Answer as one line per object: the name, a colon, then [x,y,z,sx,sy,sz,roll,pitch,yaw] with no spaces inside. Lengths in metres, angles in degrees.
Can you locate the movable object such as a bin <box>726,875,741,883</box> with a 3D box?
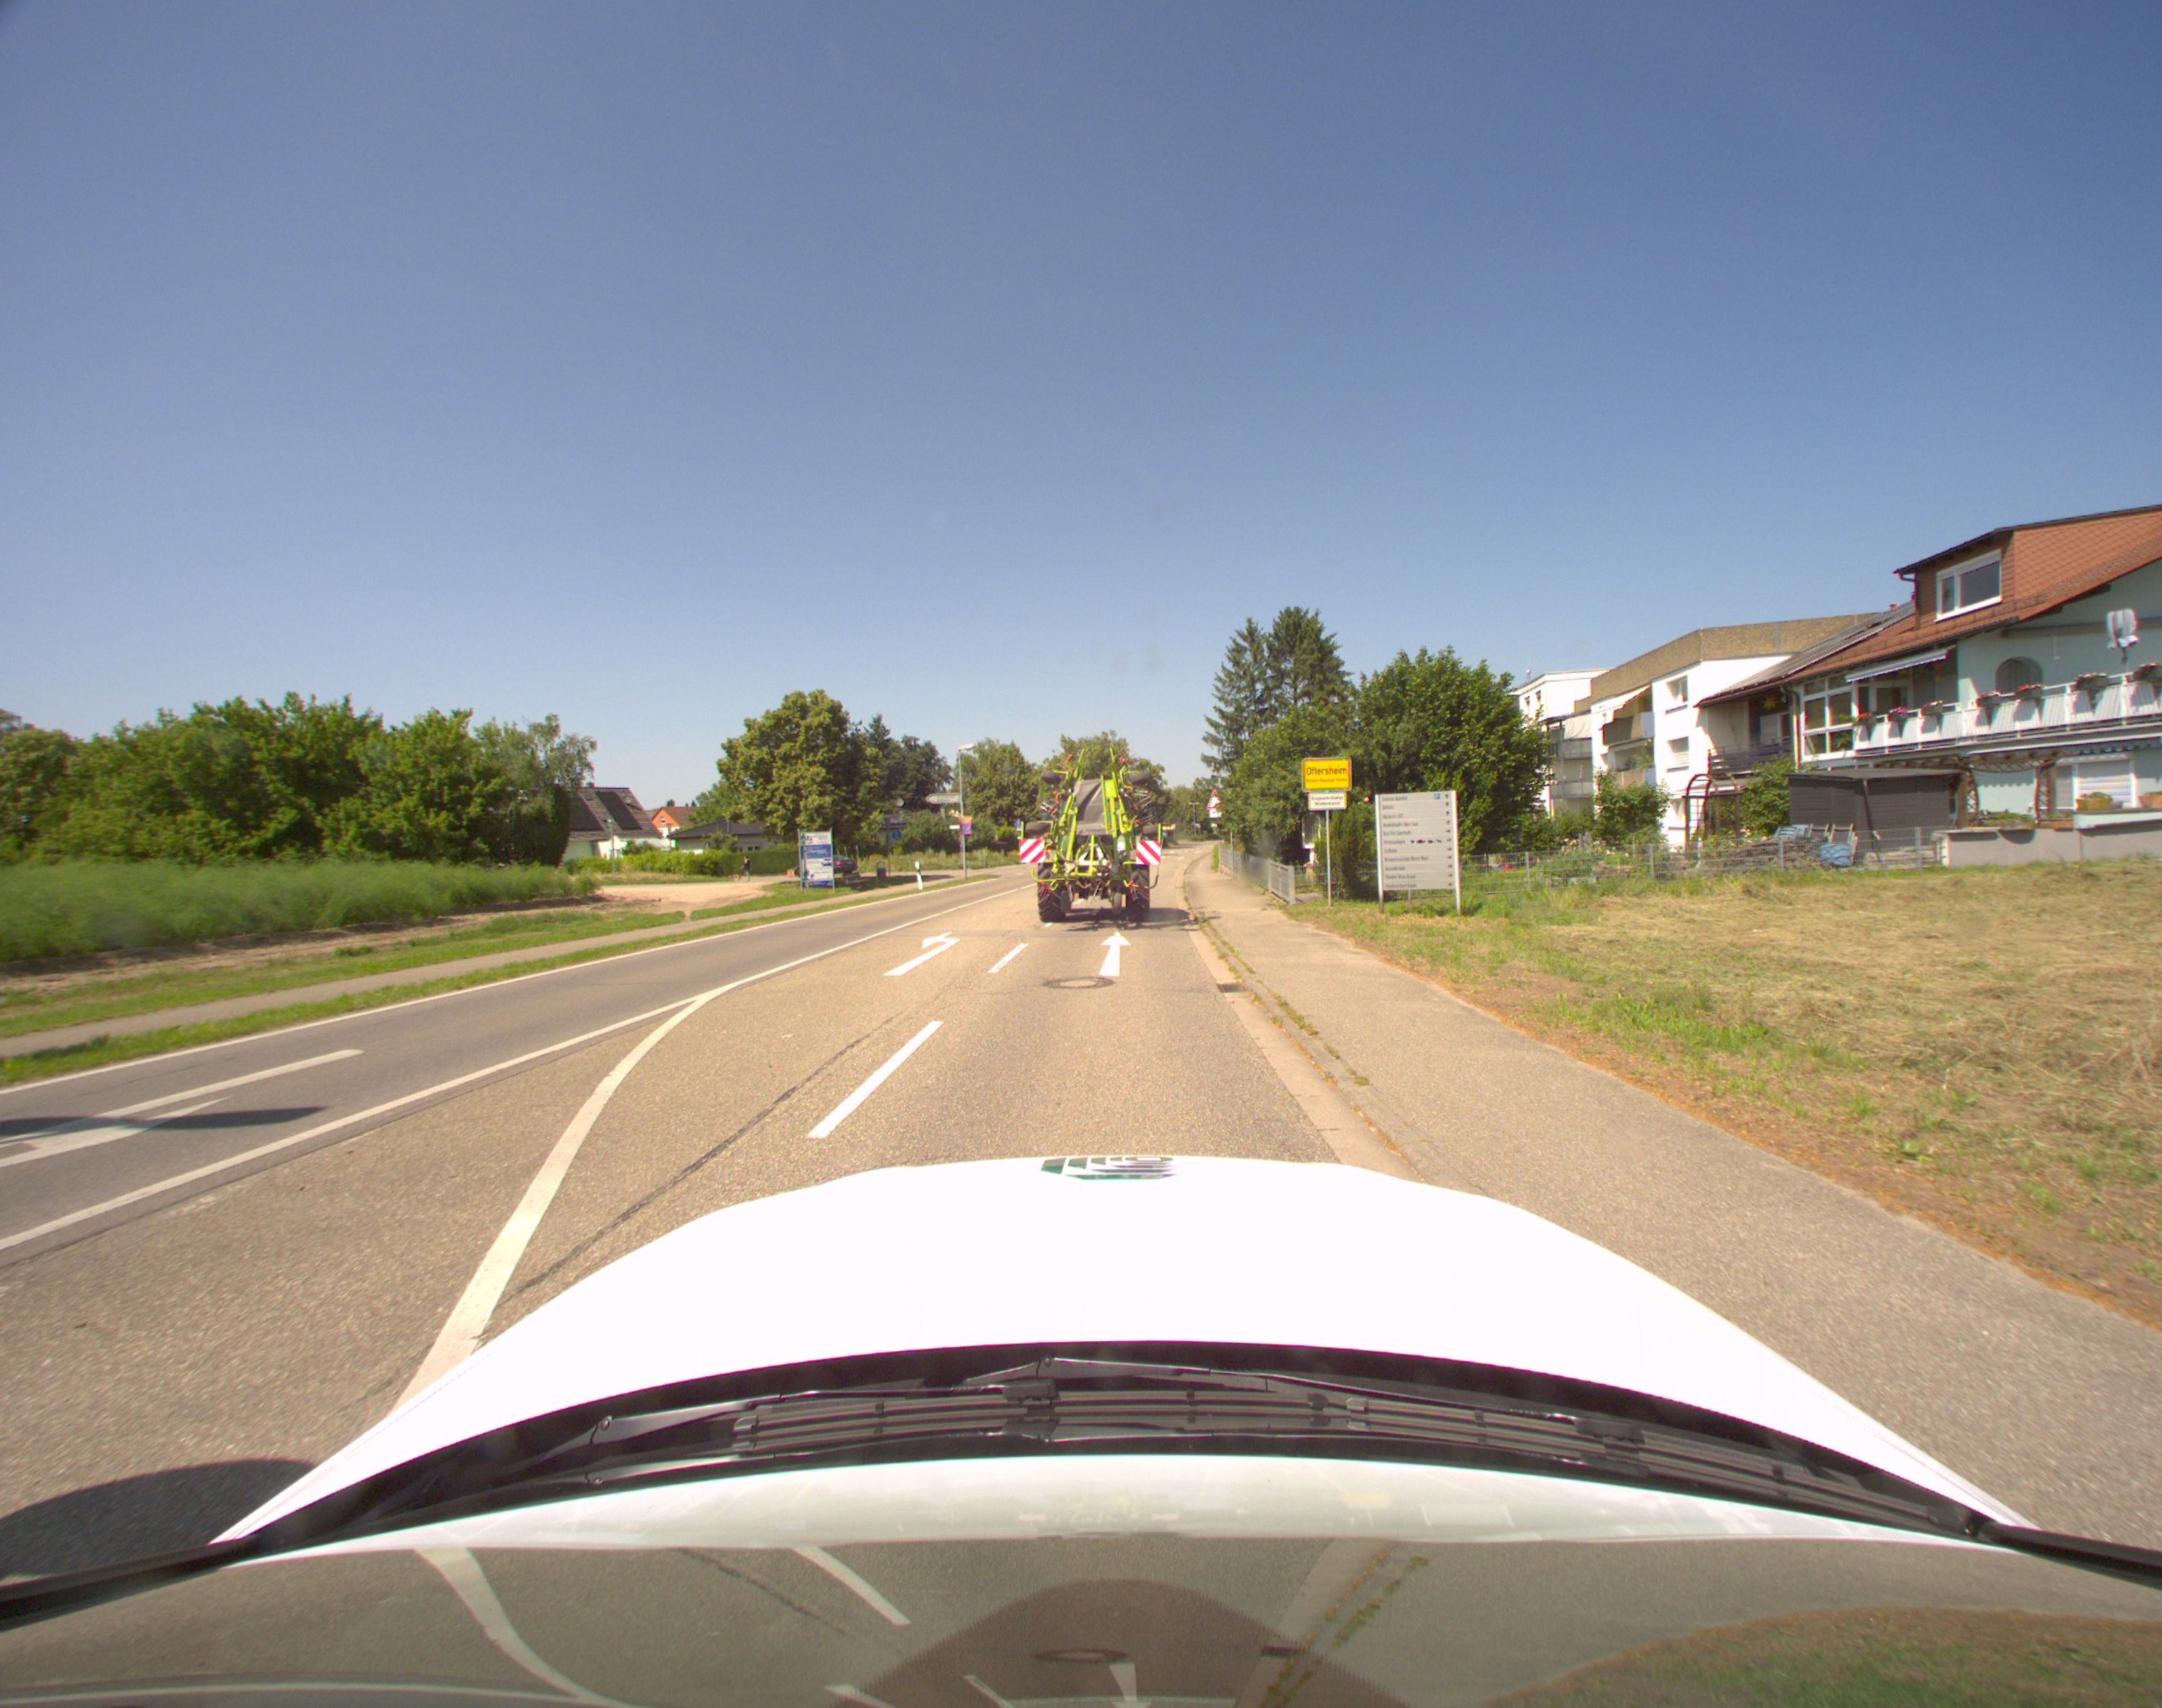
movable object such as a bin: [-21.766,1.564,50.993,0.760,0.410,0.320,-2,1,-2]

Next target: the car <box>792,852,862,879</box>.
car: [-16.678,0.735,53.454,4.050,1.519,2.012,-3,1,25]

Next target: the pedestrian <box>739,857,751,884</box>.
pedestrian: [-21.234,1.035,51.493,0.677,1.716,0.546,-2,1,-22]

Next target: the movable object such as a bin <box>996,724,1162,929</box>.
movable object such as a bin: [0.384,-0.558,19.204,2.839,3.541,9.715,-2,1,5]
